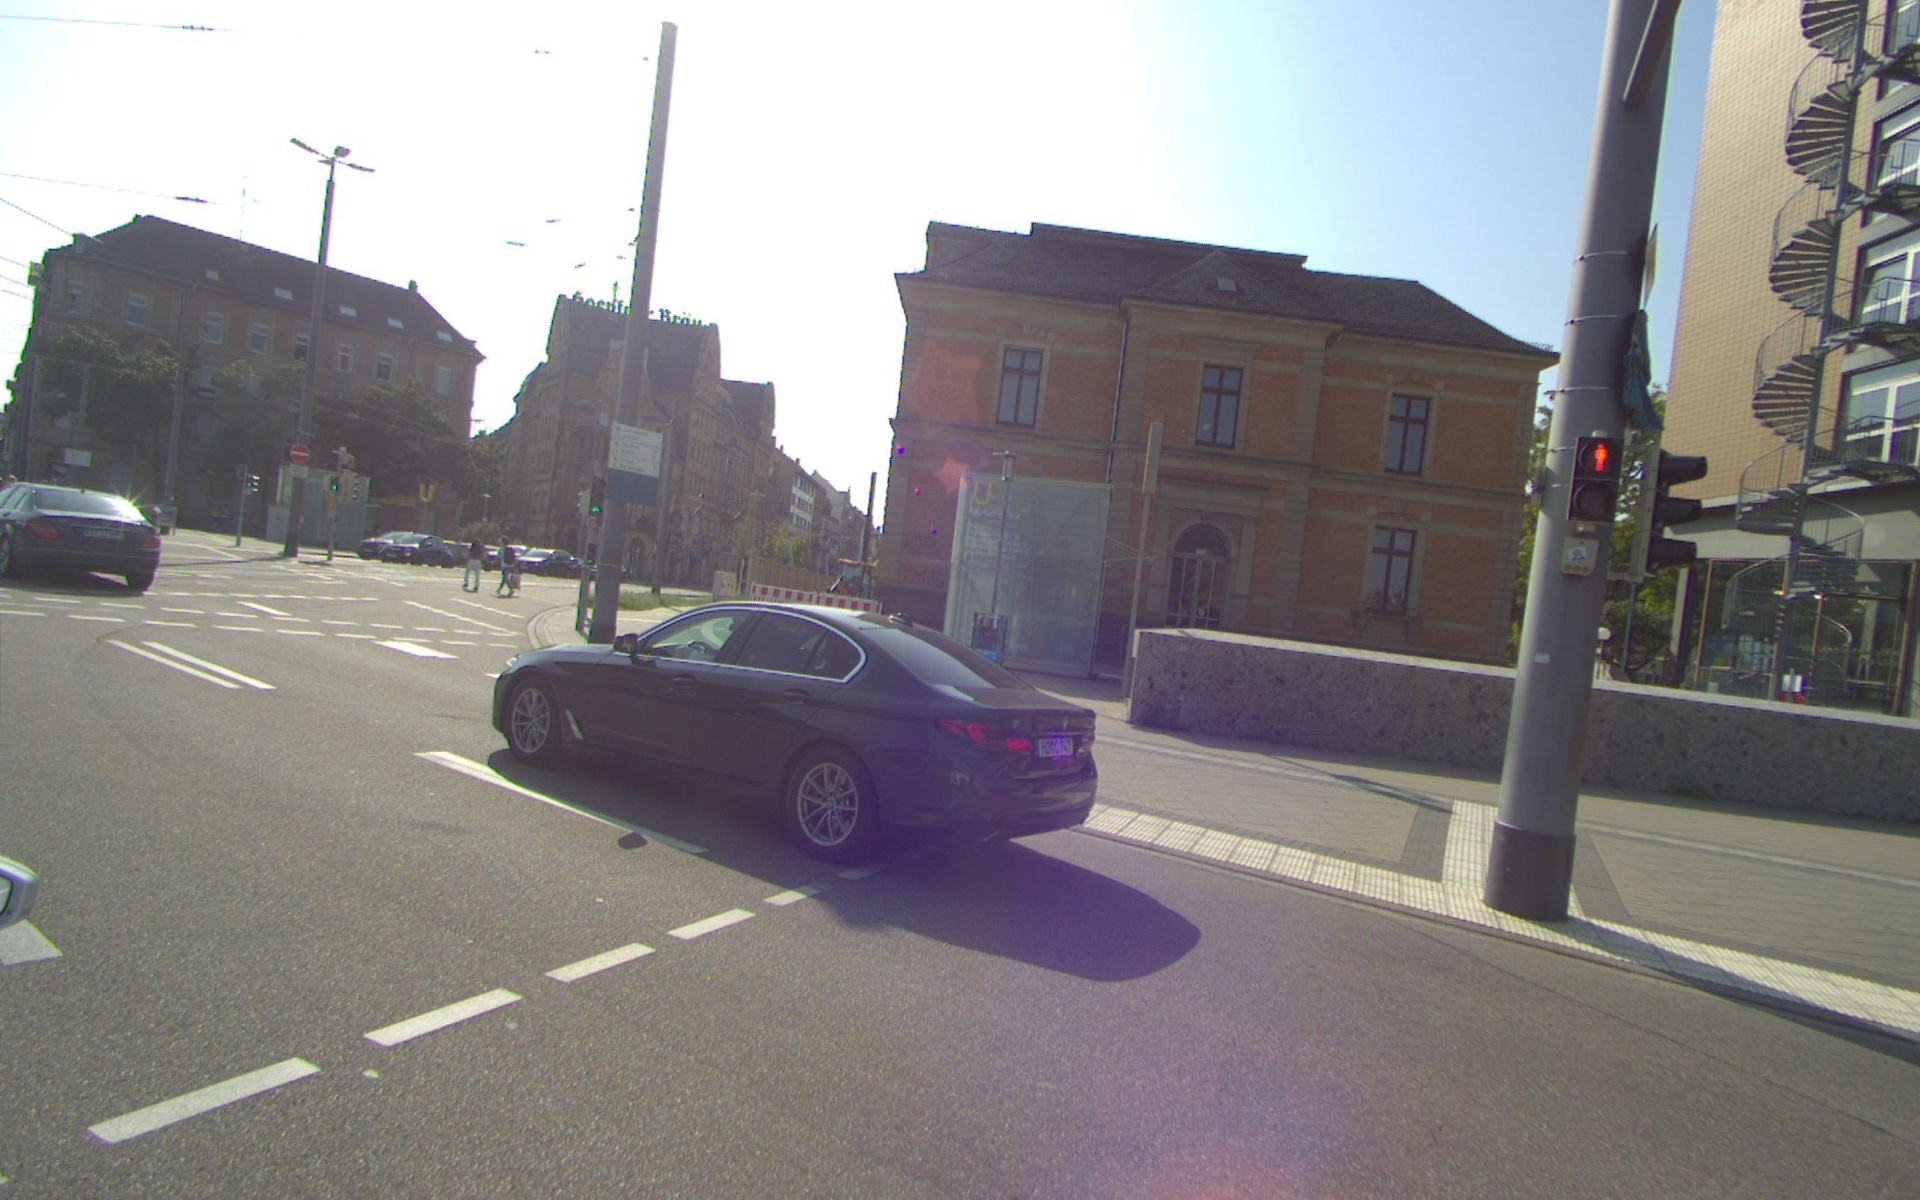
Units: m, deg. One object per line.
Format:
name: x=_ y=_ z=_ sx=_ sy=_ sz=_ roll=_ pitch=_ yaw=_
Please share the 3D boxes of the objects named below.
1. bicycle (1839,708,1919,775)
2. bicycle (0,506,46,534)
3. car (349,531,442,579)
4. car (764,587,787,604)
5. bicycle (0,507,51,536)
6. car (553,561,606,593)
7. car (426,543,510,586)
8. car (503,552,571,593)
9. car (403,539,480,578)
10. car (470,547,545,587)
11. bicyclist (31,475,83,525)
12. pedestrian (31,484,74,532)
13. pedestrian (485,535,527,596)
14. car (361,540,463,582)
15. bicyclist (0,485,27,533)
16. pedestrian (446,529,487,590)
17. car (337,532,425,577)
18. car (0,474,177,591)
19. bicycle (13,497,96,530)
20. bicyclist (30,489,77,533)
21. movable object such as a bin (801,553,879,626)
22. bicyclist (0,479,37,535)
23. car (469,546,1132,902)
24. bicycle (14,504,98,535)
bicycle: x=23.447 y=3.574 z=25.393 sx=1.781 sy=1.451 sz=0.608 roll=7 pitch=1 yaw=3
bicycle: x=-39.516 y=-3.365 z=41.448 sx=1.072 sy=0.976 sz=2.628 roll=7 pitch=0 yaw=6
car: x=-27.668 y=-2.176 z=49.471 sx=1.874 sy=1.881 sz=4.251 roll=7 pitch=-1 yaw=2
car: x=-24.174 y=-0.579 z=131.922 sx=1.896 sy=1.881 sz=4.115 roll=7 pitch=-1 yaw=2
bicycle: x=-37.786 y=-3.163 z=39.986 sx=1.074 sy=0.976 sz=2.623 roll=7 pitch=0 yaw=-7
car: x=-27.084 y=-1.623 z=71.772 sx=1.874 sy=1.881 sz=4.251 roll=7 pitch=-1 yaw=2
car: x=-27.141 y=-1.923 z=55.669 sx=1.874 sy=1.881 sz=4.711 roll=7 pitch=-1 yaw=4
car: x=-23.911 y=-1.516 z=57.028 sx=1.875 sy=1.881 sz=4.069 roll=7 pitch=-1 yaw=2
car: x=-31.475 y=-2.481 z=61.228 sx=1.895 sy=1.881 sz=4.276 roll=7 pitch=-1 yaw=9
car: x=-26.587 y=-1.892 z=59.299 sx=2.007 sy=1.881 sz=4.666 roll=7 pitch=-1 yaw=2
bicyclist: x=-35.785 y=-3.953 z=39.890 sx=1.074 sy=1.730 sz=0.935 roll=7 pitch=1 yaw=-7
pedestrian: x=-37.917 y=-3.844 z=42.037 sx=0.845 sy=1.819 sz=0.926 roll=7 pitch=1 yaw=-11
pedestrian: x=-13.702 y=-1.042 z=30.406 sx=0.909 sy=1.711 sz=0.921 roll=7 pitch=0 yaw=-20
car: x=-24.983 y=-1.751 z=46.052 sx=1.986 sy=1.414 sz=4.389 roll=7 pitch=-1 yaw=2
bicyclist: x=-39.465 y=-3.789 z=41.423 sx=1.072 sy=1.822 sz=0.937 roll=7 pitch=1 yaw=6
pedestrian: x=-14.860 y=-1.216 z=30.326 sx=0.910 sy=1.711 sz=0.833 roll=7 pitch=0 yaw=-23
car: x=-30.579 y=-2.360 z=53.287 sx=1.919 sy=1.881 sz=4.275 roll=7 pitch=-1 yaw=2
car: x=-14.328 y=-1.142 z=16.043 sx=4.304 sy=1.460 sz=1.683 roll=7 pitch=0 yaw=36
bicycle: x=-35.842 y=-3.421 z=39.880 sx=1.074 sy=0.976 sz=2.623 roll=7 pitch=0 yaw=-7
bicyclist: x=-39.659 y=-3.889 z=44.029 sx=1.072 sy=1.701 sz=0.937 roll=7 pitch=1 yaw=6
movable object such as a bin: x=-4.822 y=-0.395 z=41.695 sx=2.408 sy=2.472 sz=7.974 roll=7 pitch=0 yaw=-3
bicyclist: x=-37.721 y=-3.710 z=39.932 sx=1.074 sy=2.049 sz=0.935 roll=7 pitch=1 yaw=-7
car: x=-1.314 y=0.651 z=7.177 sx=4.596 sy=1.510 sz=1.685 roll=7 pitch=-1 yaw=33
bicycle: x=-39.688 y=-3.517 z=44.231 sx=1.072 sy=0.976 sz=2.628 roll=7 pitch=0 yaw=6
